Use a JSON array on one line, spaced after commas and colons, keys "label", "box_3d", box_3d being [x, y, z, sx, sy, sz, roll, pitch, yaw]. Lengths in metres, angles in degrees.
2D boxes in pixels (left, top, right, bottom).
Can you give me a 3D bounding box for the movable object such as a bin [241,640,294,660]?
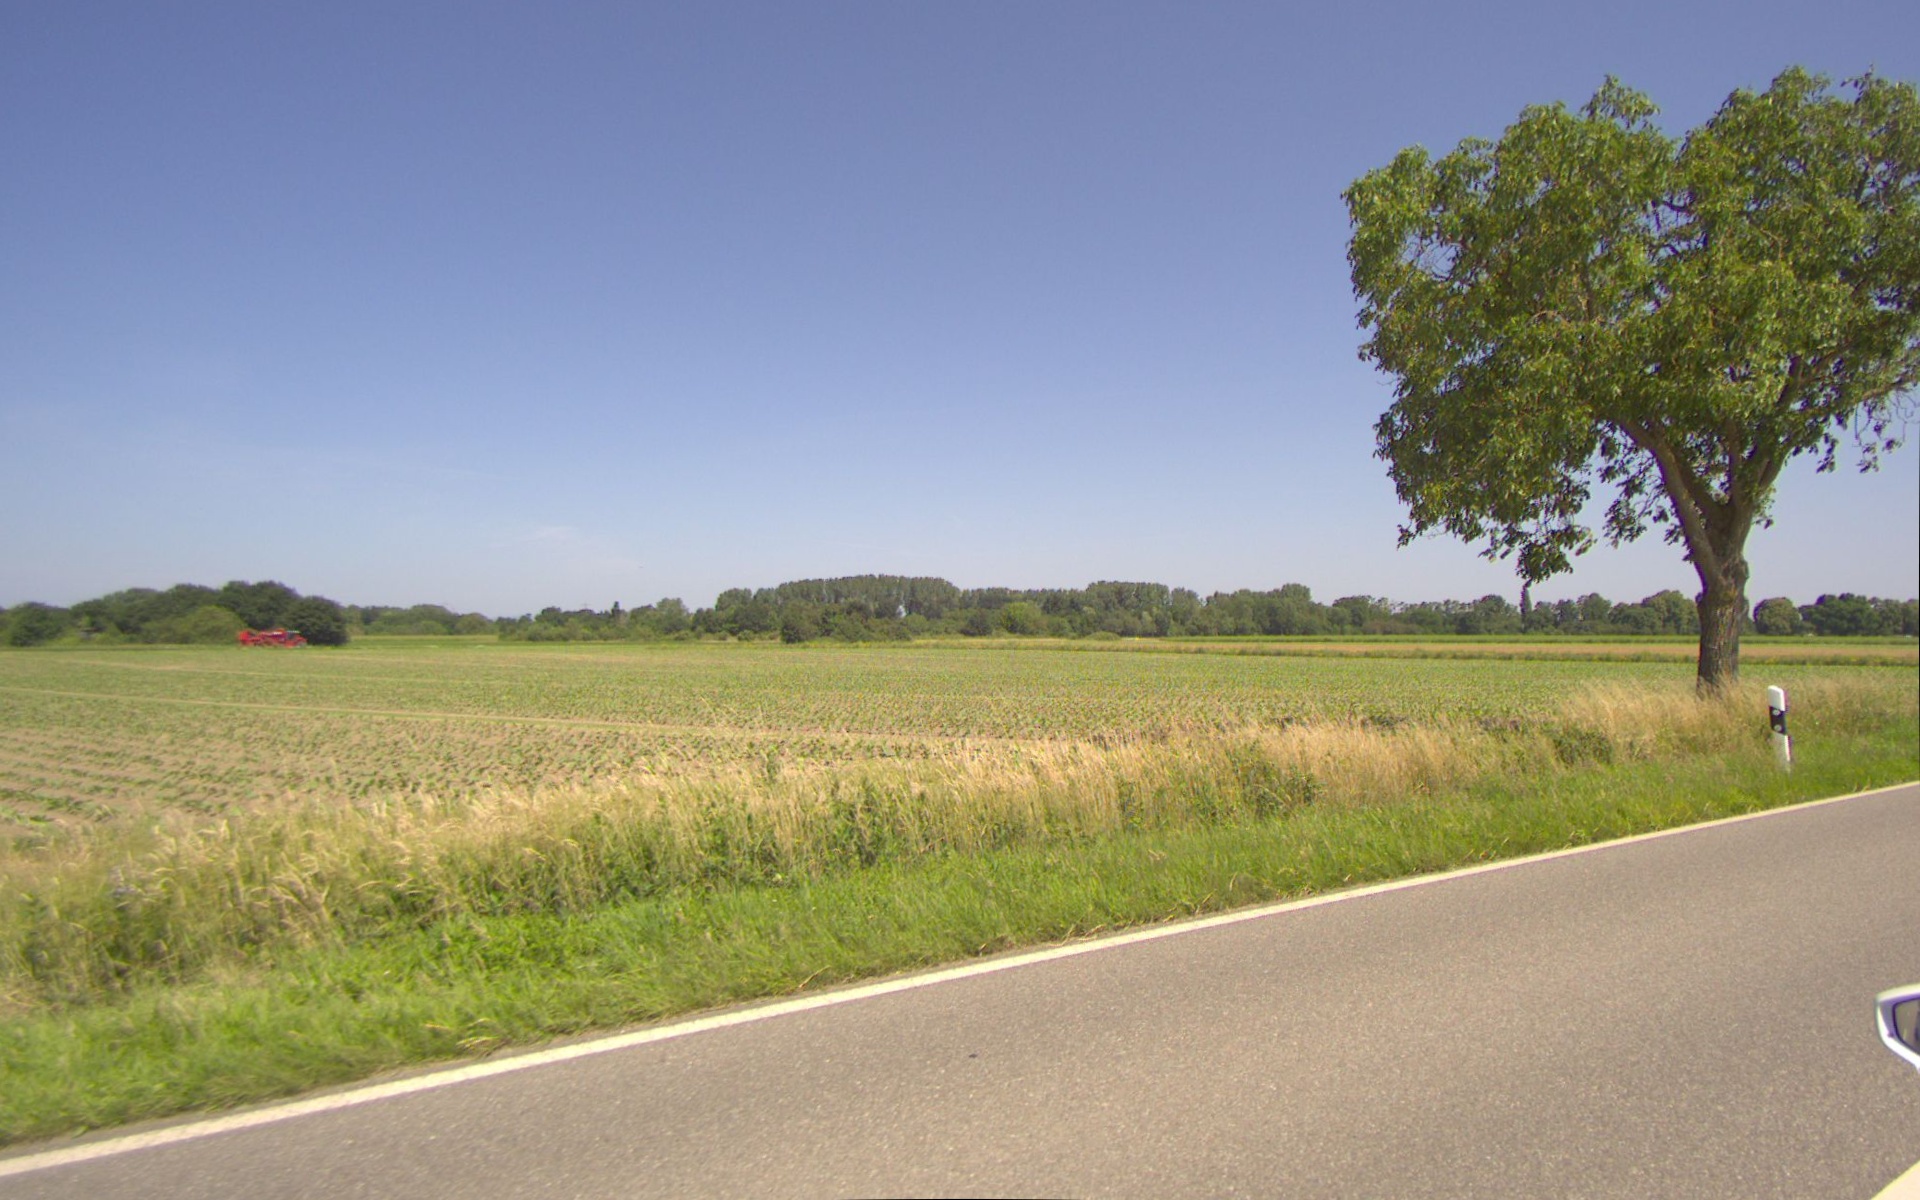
[{"label": "movable object such as a bin", "box_3d": [-140.968, 10.254, 204.478, 9.777, 3.899, 2.549, -1, -3, 9]}]
